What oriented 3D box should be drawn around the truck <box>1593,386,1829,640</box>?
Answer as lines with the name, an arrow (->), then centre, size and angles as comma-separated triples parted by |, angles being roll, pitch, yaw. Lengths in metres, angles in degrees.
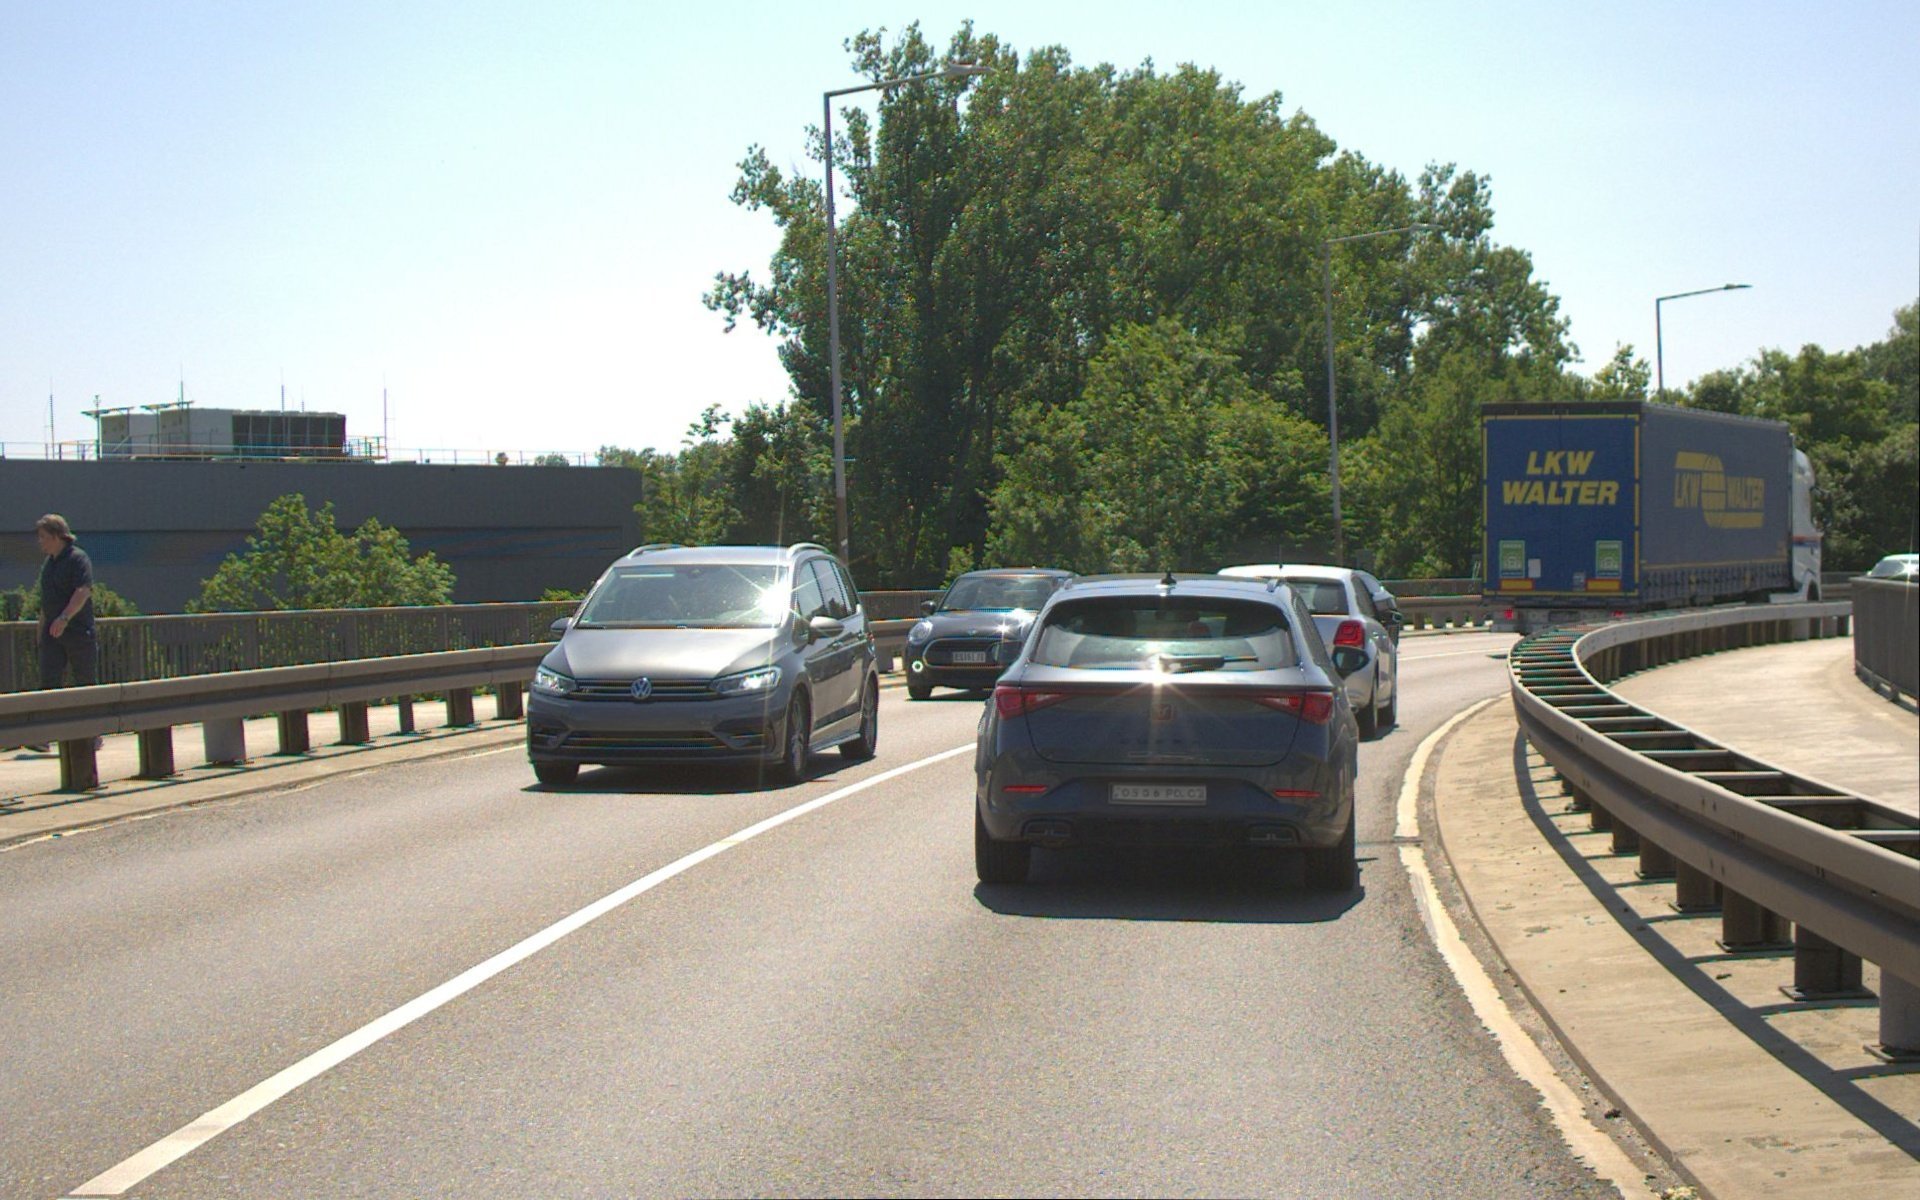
truck -> 14.505, -1.590, 65.951 | 3.173, 4.569, 7.388 | 1, 0, 22

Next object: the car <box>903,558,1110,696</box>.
car -> 0.567, 0.276, 38.164 | 1.790, 1.414, 3.772 | -2, 0, 8

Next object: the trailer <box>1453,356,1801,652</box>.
trailer -> 11.874, -1.557, 59.826 | 3.138, 4.598, 12.932 | 1, 1, 24

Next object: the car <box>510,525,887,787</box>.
car -> -1.723, 0.367, 24.105 | 1.896, 1.649, 4.257 | -1, 0, 6

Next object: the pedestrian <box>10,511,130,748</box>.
pedestrian -> -6.789, 0.217, 26.249 | 0.638, 1.776, 0.811 | 1, 0, 6

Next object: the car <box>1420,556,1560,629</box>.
car -> 11.272, -0.180, 72.980 | 1.728, 1.478, 3.860 | -1, 0, 28

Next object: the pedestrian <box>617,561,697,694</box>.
pedestrian -> -3.624, 0.324, 41.147 | 0.715, 1.556, 0.694 | -2, 0, 14

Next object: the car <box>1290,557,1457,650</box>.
car -> 6.771, 0.042, 55.960 | 1.791, 1.414, 3.769 | -2, 0, 21

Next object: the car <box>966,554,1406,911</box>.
car -> 0.969, 0.542, 16.551 | 1.845, 1.493, 3.758 | 0, 1, 0

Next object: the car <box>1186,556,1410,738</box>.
car -> 2.978, 0.362, 29.782 | 1.594, 1.456, 3.543 | 1, 1, 11

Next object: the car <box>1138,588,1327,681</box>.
car -> 4.501, 0.543, 56.209 | 1.791, 1.410, 4.570 | -1, 0, 22
